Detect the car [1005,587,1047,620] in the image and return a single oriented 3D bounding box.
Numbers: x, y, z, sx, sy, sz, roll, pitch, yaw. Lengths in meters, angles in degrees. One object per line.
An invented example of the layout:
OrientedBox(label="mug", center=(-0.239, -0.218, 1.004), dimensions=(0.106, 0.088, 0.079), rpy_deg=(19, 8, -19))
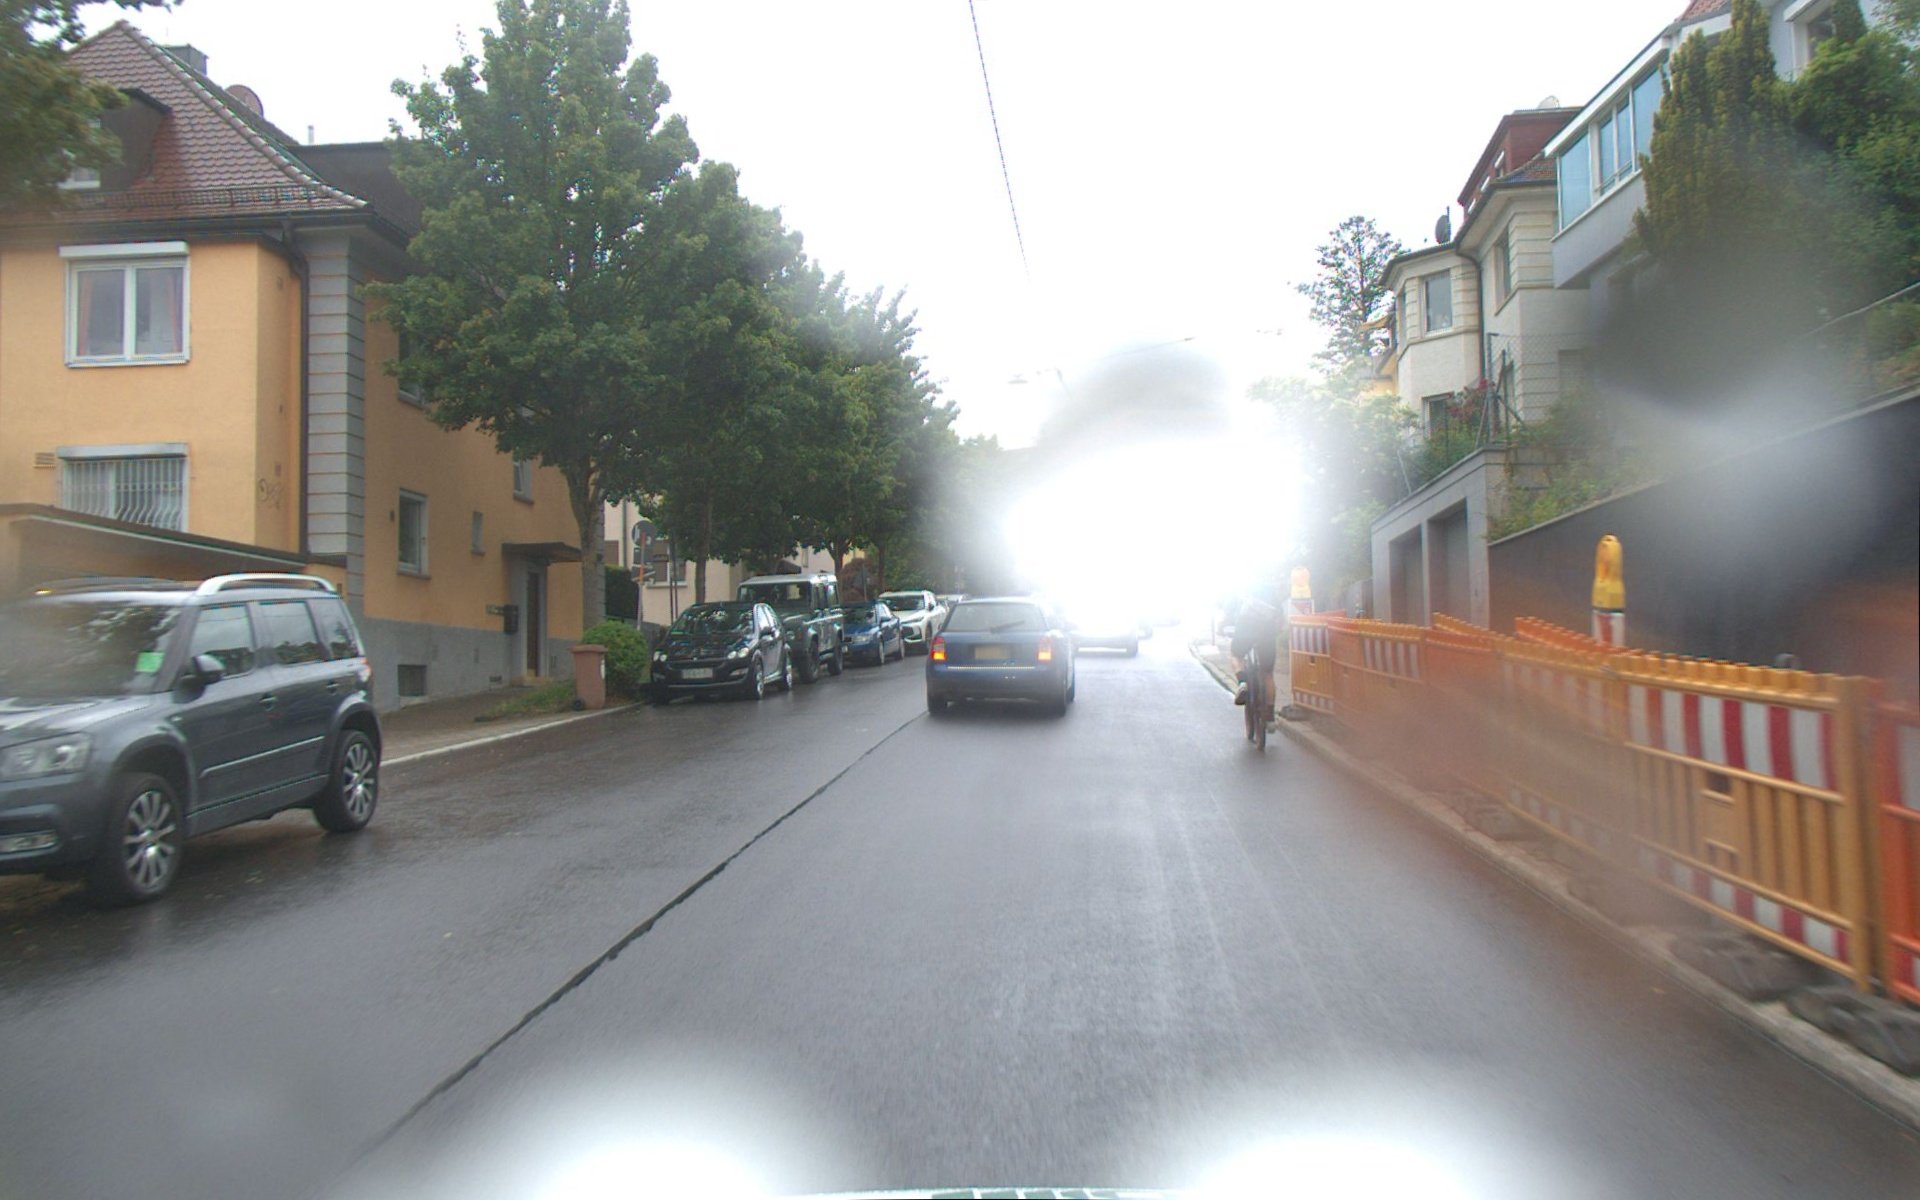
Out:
OrientedBox(label="car", center=(3.005, 0.136, 74.650), dimensions=(1.443, 1.318, 3.224), rpy_deg=(1, 2, 10))

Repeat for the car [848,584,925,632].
OrientedBox(label="car", center=(-3.418, 0.378, 76.684), dimensions=(3.143, 1.770, 1.481), rpy_deg=(-7, 0, 9))

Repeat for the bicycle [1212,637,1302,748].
OrientedBox(label="bicycle", center=(2.891, 0.879, 16.230), dimensions=(0.714, 0.981, 1.672), rpy_deg=(0, 0, 5))

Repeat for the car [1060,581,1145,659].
OrientedBox(label="car", center=(3.504, 0.434, 40.484), dimensions=(1.933, 1.663, 4.239), rpy_deg=(1, 2, 5))

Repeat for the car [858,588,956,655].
OrientedBox(label="car", center=(-1.365, 0.564, 44.824), dimensions=(1.730, 1.655, 4.694), rpy_deg=(-2, -1, 9))

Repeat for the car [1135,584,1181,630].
OrientedBox(label="car", center=(8.605, 0.263, 71.704), dimensions=(1.696, 1.799, 4.239), rpy_deg=(1, 2, 10))

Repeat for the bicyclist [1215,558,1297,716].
OrientedBox(label="bicyclist", center=(2.890, 0.353, 16.218), dimensions=(0.710, 1.498, 0.887), rpy_deg=(0, 0, 5))

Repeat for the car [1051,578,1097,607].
OrientedBox(label="car", center=(6.446, -0.468, 93.489), dimensions=(1.697, 1.492, 4.003), rpy_deg=(2, 2, 17))

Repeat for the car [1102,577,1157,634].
OrientedBox(label="car", center=(5.973, 0.147, 57.889), dimensions=(1.696, 1.799, 4.239), rpy_deg=(1, 2, 8))

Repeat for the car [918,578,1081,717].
OrientedBox(label="car", center=(0.603, 0.525, 21.212), dimensions=(1.696, 1.492, 4.004), rpy_deg=(1, 2, 7))

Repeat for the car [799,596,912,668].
OrientedBox(label="car", center=(-2.369, 0.711, 38.772), dimensions=(1.730, 1.411, 4.638), rpy_deg=(-3, 1, 7))

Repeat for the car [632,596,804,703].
OrientedBox(label="car", center=(-3.718, 0.716, 26.173), dimensions=(1.731, 1.461, 4.349), rpy_deg=(-3, 0, 4))

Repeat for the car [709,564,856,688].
OrientedBox(label="car", center=(-3.296, 0.417, 31.669), dimensions=(1.754, 2.085, 4.785), rpy_deg=(-4, 1, 5))

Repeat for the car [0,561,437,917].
OrientedBox(label="car", center=(-4.780, 0.643, 9.842), dimensions=(1.731, 1.663, 4.112), rpy_deg=(-1, 1, 4))

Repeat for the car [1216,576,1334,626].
OrientedBox(label="car", center=(10.858, 0.013, 57.007), dimensions=(3.902, 1.492, 1.741), rpy_deg=(-3, 1, 12))

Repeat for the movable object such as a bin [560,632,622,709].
OrientedBox(label="movable object such as a bin", center=(-5.376, 1.025, 24.115), dimensions=(0.669, 1.028, 0.708), rpy_deg=(-5, 0, -1))
